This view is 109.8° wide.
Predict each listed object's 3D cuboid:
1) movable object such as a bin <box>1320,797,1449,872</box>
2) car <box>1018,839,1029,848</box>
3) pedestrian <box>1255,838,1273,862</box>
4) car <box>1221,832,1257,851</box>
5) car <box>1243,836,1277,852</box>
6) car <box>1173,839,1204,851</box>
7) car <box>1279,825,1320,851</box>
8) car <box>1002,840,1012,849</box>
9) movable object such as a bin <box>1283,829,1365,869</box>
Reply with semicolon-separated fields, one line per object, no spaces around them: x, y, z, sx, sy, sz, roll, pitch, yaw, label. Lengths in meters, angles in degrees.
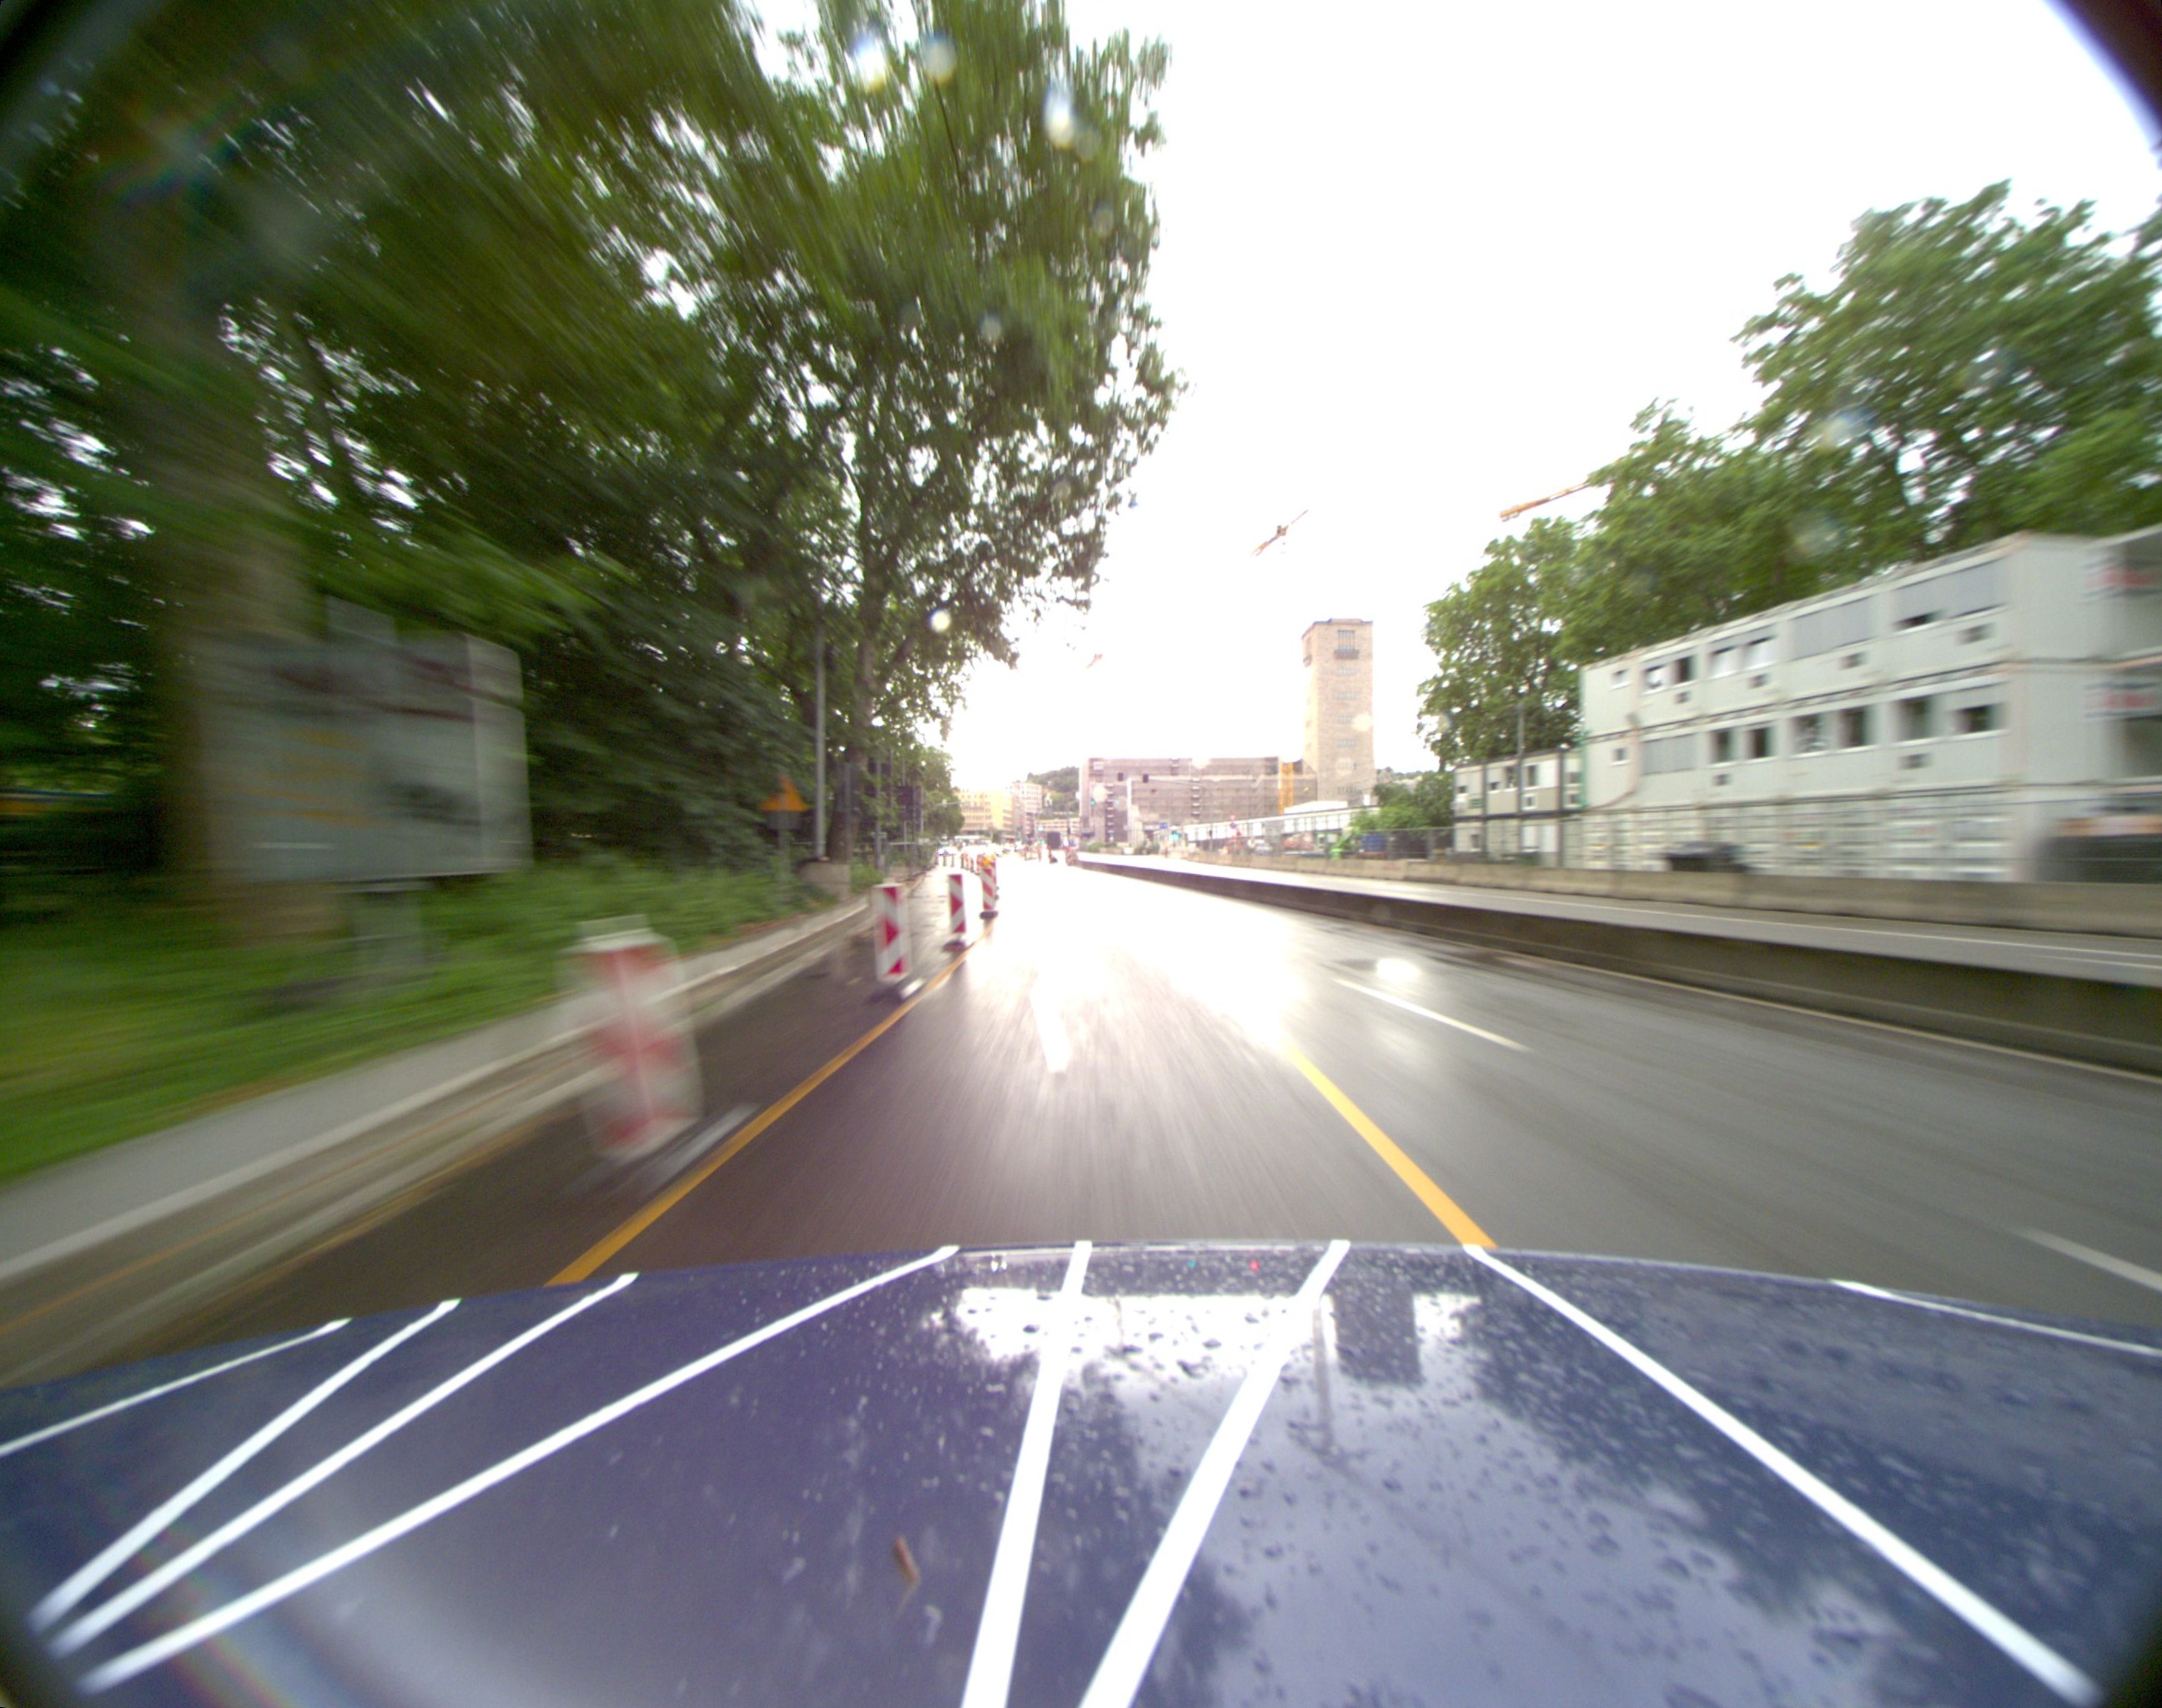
20.874;-1.337;53.150;4.765;4.776;8.351;0;1;-9;movable object such as a bin
-11.542;-2.103;152.807;1.833;1.643;4.569;0;1;-8;car
15.354;-0.328;63.723;1.183;2.002;1.173;-1;2;-1;pedestrian
18.278;-1.423;88.336;2.001;2.088;5.575;1;1;-12;car
19.393;-1.122;82.520;1.851;1.751;4.792;0;1;-9;car
18.313;-1.530;129.268;2.004;2.002;5.011;-1;1;-45;car
26.460;-1.945;92.383;2.281;3.049;6.162;0;1;-10;car
-14.892;-1.925;152.938;2.000;1.804;4.289;0;1;-8;car
19.740;-0.476;62.124;3.945;3.110;6.381;0;1;-9;movable object such as a bin
